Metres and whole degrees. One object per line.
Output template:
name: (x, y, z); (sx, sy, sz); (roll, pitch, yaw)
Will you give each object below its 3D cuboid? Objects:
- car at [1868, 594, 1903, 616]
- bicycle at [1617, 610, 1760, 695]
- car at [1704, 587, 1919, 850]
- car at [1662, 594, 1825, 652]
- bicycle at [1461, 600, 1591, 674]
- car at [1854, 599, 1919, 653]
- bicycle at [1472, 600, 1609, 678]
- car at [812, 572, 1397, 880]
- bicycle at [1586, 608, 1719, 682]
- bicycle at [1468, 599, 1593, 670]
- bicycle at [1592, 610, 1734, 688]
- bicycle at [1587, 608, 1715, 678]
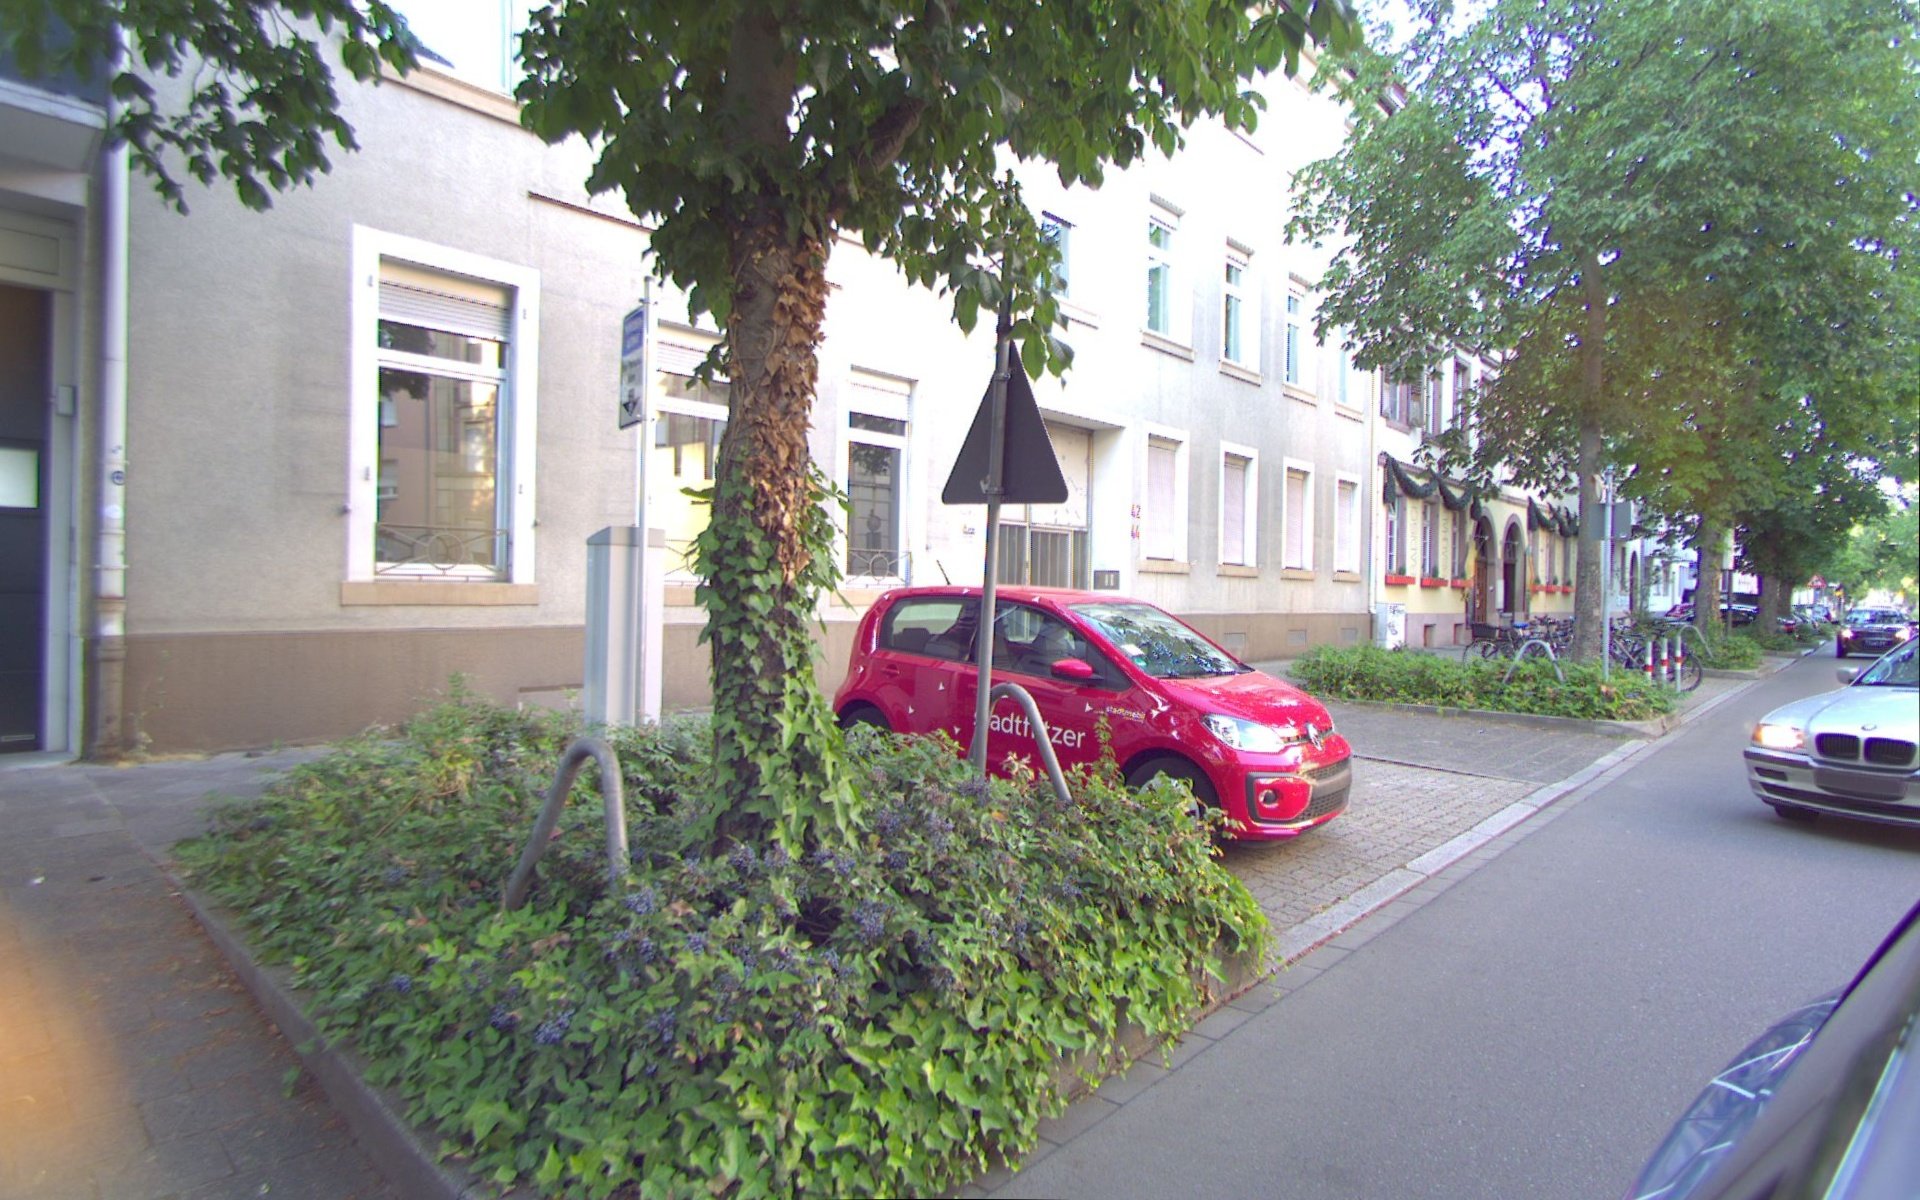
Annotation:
car: (68.539, 0.334, 74.927); (1.801, 1.571, 3.937); (2, 1, 43)
bicycle: (11.847, 0.827, 16.533); (1.835, 1.242, 0.529); (2, 1, 33)
car: (7.278, 0.676, 6.749); (4.343, 1.460, 1.716); (0, 1, -22)
car: (26.608, 0.731, 34.452); (4.232, 1.761, 1.715); (2, 1, 43)
bicycle: (10.294, 0.646, 18.432); (2.014, 1.242, 0.529); (2, 1, 33)
car: (29.189, 0.769, 31.504); (1.802, 1.571, 3.935); (2, 1, 45)
bicycle: (10.078, 0.654, 17.622); (2.014, 1.242, 0.529); (2, 1, 33)
car: (0.798, 0.581, 6.810); (3.608, 1.495, 1.639); (2, 1, 42)
bicycle: (12.984, 0.815, 19.013); (2.019, 1.242, 0.528); (2, 1, 39)
bicycle: (10.925, 0.633, 19.426); (2.017, 1.242, 0.529); (2, 1, 37)
bicycle: (12.349, 0.829, 17.819); (2.019, 1.242, 0.528); (2, 1, 39)
bicycle: (13.465, 0.805, 19.766); (2.019, 1.242, 0.528); (2, 1, 39)
